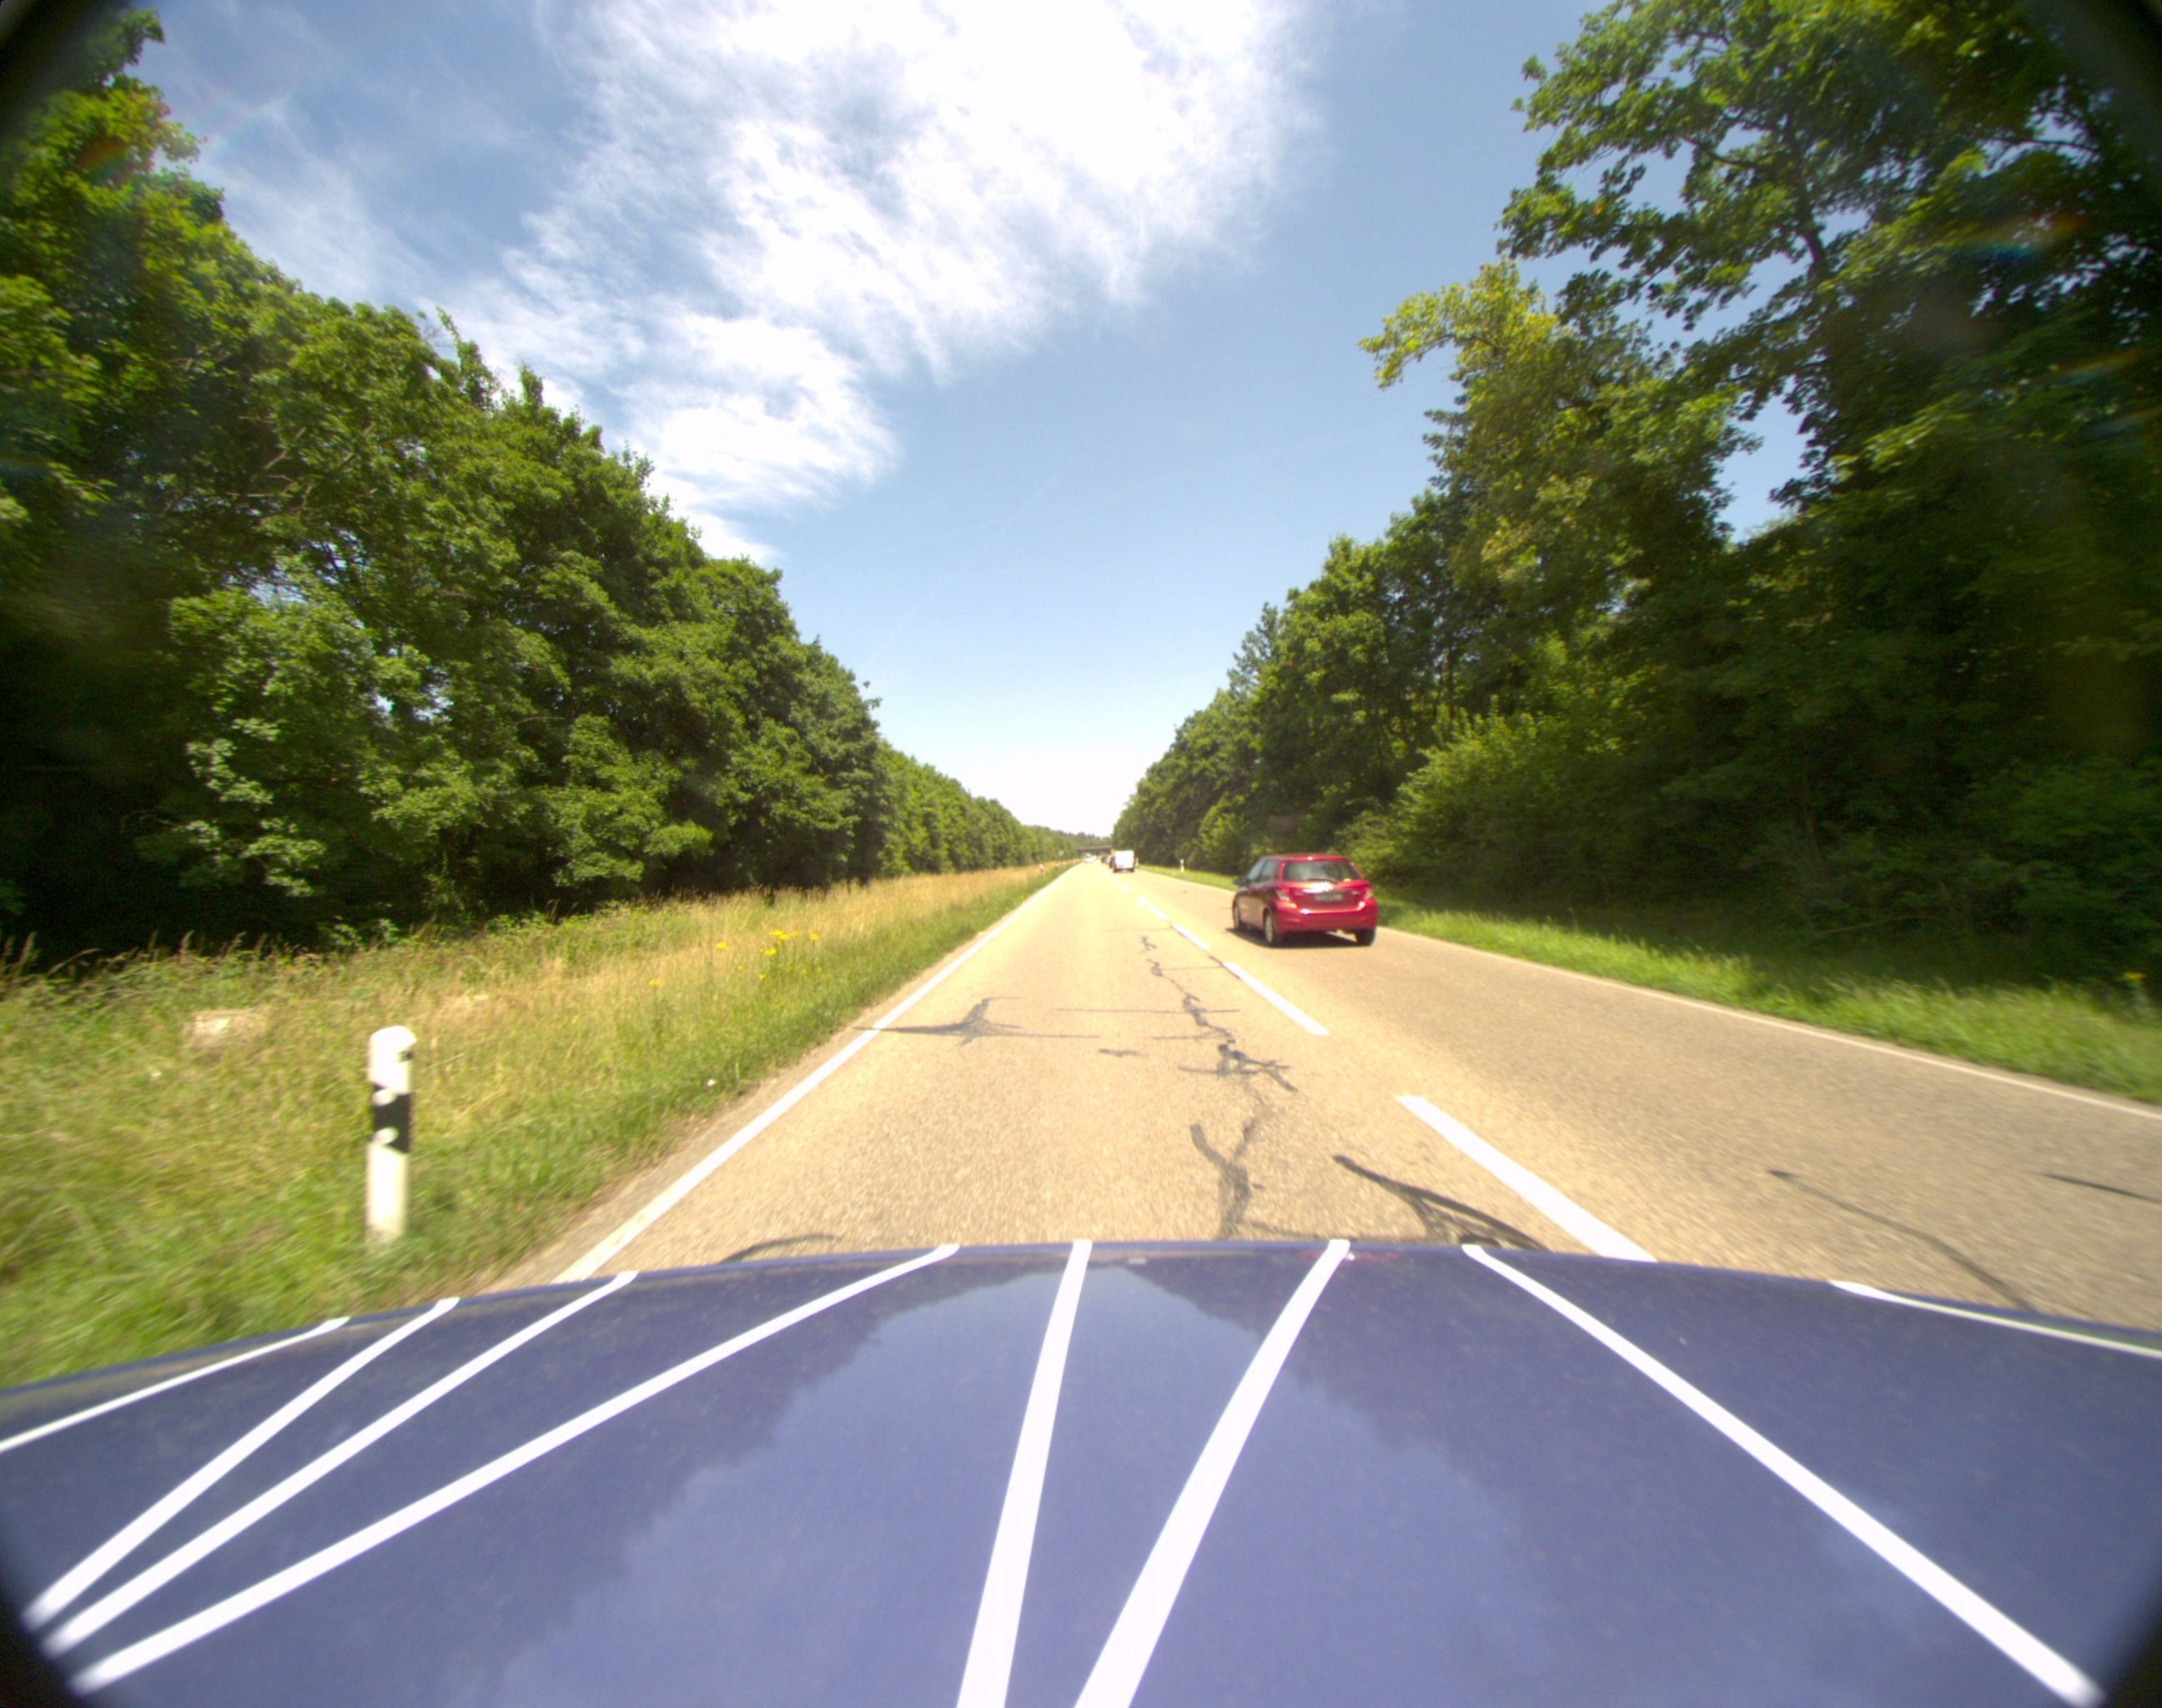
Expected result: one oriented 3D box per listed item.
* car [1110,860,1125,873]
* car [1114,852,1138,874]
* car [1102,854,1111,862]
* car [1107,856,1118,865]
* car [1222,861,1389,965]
[{"bbox_3d":[4.585,1.510,95.804,1.676,1.510,3.999,-1,0,0],"label":"car"},{"bbox_3d":[4.155,0.803,70.962,1.880,1.917,4.987,-2,0,1],"label":"car"},{"bbox_3d":[5.401,0.846,161.145,1.870,1.615,4.200,-1,0,0],"label":"car"},{"bbox_3d":[5.772,1.186,140.048,1.844,1.527,4.658,-1,0,0],"label":"car"},{"bbox_3d":[3.732,0.901,13.380,1.686,1.484,4.000,-2,0,-1],"label":"car"}]
